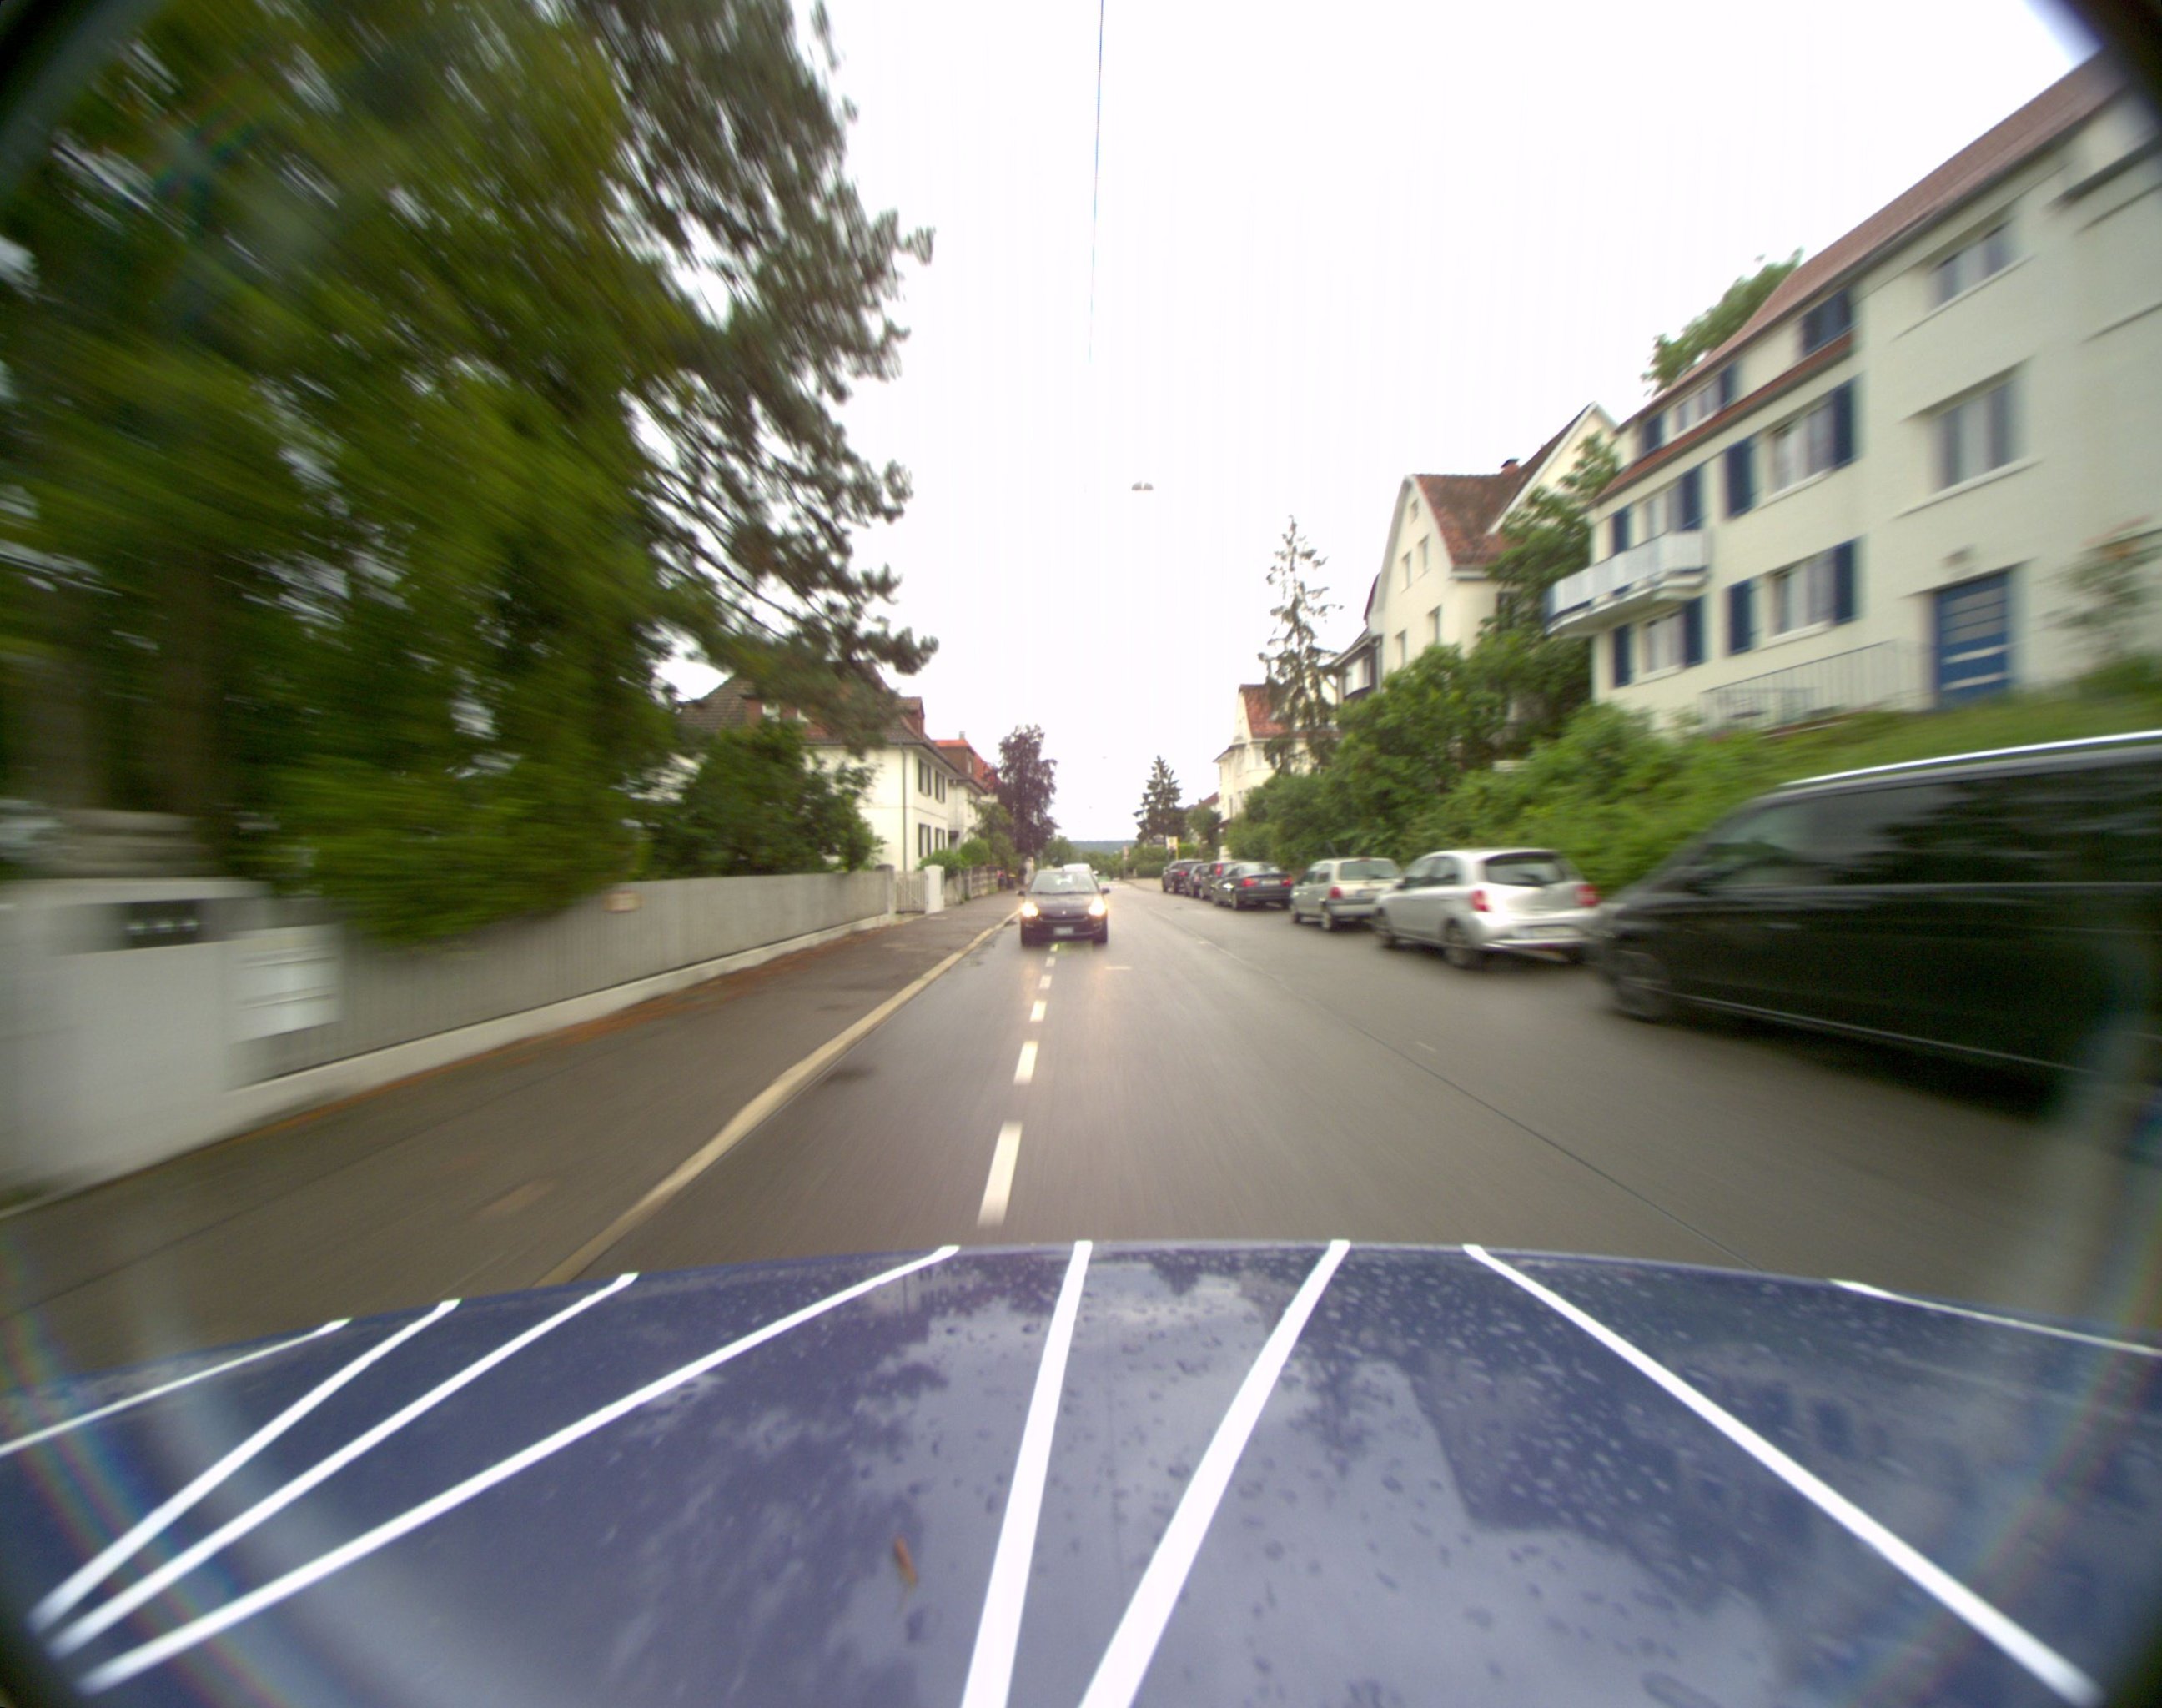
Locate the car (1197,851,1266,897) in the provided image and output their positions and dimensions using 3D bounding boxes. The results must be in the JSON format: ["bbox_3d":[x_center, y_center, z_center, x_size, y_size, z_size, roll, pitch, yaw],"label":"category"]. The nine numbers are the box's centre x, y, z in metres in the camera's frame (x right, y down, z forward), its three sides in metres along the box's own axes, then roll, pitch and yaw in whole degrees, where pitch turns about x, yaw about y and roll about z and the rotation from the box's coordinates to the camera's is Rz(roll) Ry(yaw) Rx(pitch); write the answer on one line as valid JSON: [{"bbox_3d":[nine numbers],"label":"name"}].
[{"bbox_3d":[5.596,0.731,28.702,1.701,1.532,3.813,-2,0,-1],"label":"car"}]

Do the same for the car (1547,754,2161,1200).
[{"bbox_3d":[5.507,0.477,4.645,1.998,1.867,5.357,-3,0,1],"label":"car"}]

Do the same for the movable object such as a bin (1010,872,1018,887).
[{"bbox_3d":[-4.338,1.649,49.111,0.495,0.950,0.503,-2,-2,-2],"label":"movable object such as a bin"}]

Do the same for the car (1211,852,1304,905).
[{"bbox_3d":[5.408,0.774,23.875,1.760,1.438,4.417,-2,-2,-1],"label":"car"}]

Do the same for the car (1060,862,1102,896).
[{"bbox_3d":[-0.008,1.267,38.334,1.928,1.577,4.001,-2,-2,0],"label":"car"}]

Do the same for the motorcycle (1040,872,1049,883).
[{"bbox_3d":[-4.265,2.713,87.904,0.694,1.218,2.154,4,-1,4],"label":"motorcycle"}]

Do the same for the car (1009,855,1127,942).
[{"bbox_3d":[-0.132,0.887,15.703,1.695,1.481,3.944,-4,-3,9],"label":"car"}]

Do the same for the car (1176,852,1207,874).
[{"bbox_3d":[9.687,0.815,66.674,1.771,1.686,4.000,-2,-2,-5],"label":"car"}]

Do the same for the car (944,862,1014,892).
[{"bbox_3d":[-6.187,1.392,46.361,3.997,1.630,1.919,-2,-2,-1],"label":"car"}]

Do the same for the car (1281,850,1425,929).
[{"bbox_3d":[5.626,0.732,16.192,1.650,1.438,3.629,-2,-2,-1],"label":"car"}]

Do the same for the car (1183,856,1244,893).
[{"bbox_3d":[5.669,0.895,33.029,1.898,1.438,3.815,-2,-2,-1],"label":"car"}]

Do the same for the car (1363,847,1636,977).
[{"bbox_3d":[5.548,0.676,10.684,1.698,1.438,3.813,-2,0,0],"label":"car"}]

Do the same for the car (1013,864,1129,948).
[{"bbox_3d":[-0.065,0.968,15.770,1.710,1.414,4.003,-3,0,9],"label":"car"}]

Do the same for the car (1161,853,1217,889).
[{"bbox_3d":[5.295,0.808,37.859,1.898,1.613,4.378,-2,-1,-3],"label":"car"}]

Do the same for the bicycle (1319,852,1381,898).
[{"bbox_3d":[8.202,0.643,23.290,1.006,1.293,2.291,-2,-2,0],"label":"bicycle"}]
